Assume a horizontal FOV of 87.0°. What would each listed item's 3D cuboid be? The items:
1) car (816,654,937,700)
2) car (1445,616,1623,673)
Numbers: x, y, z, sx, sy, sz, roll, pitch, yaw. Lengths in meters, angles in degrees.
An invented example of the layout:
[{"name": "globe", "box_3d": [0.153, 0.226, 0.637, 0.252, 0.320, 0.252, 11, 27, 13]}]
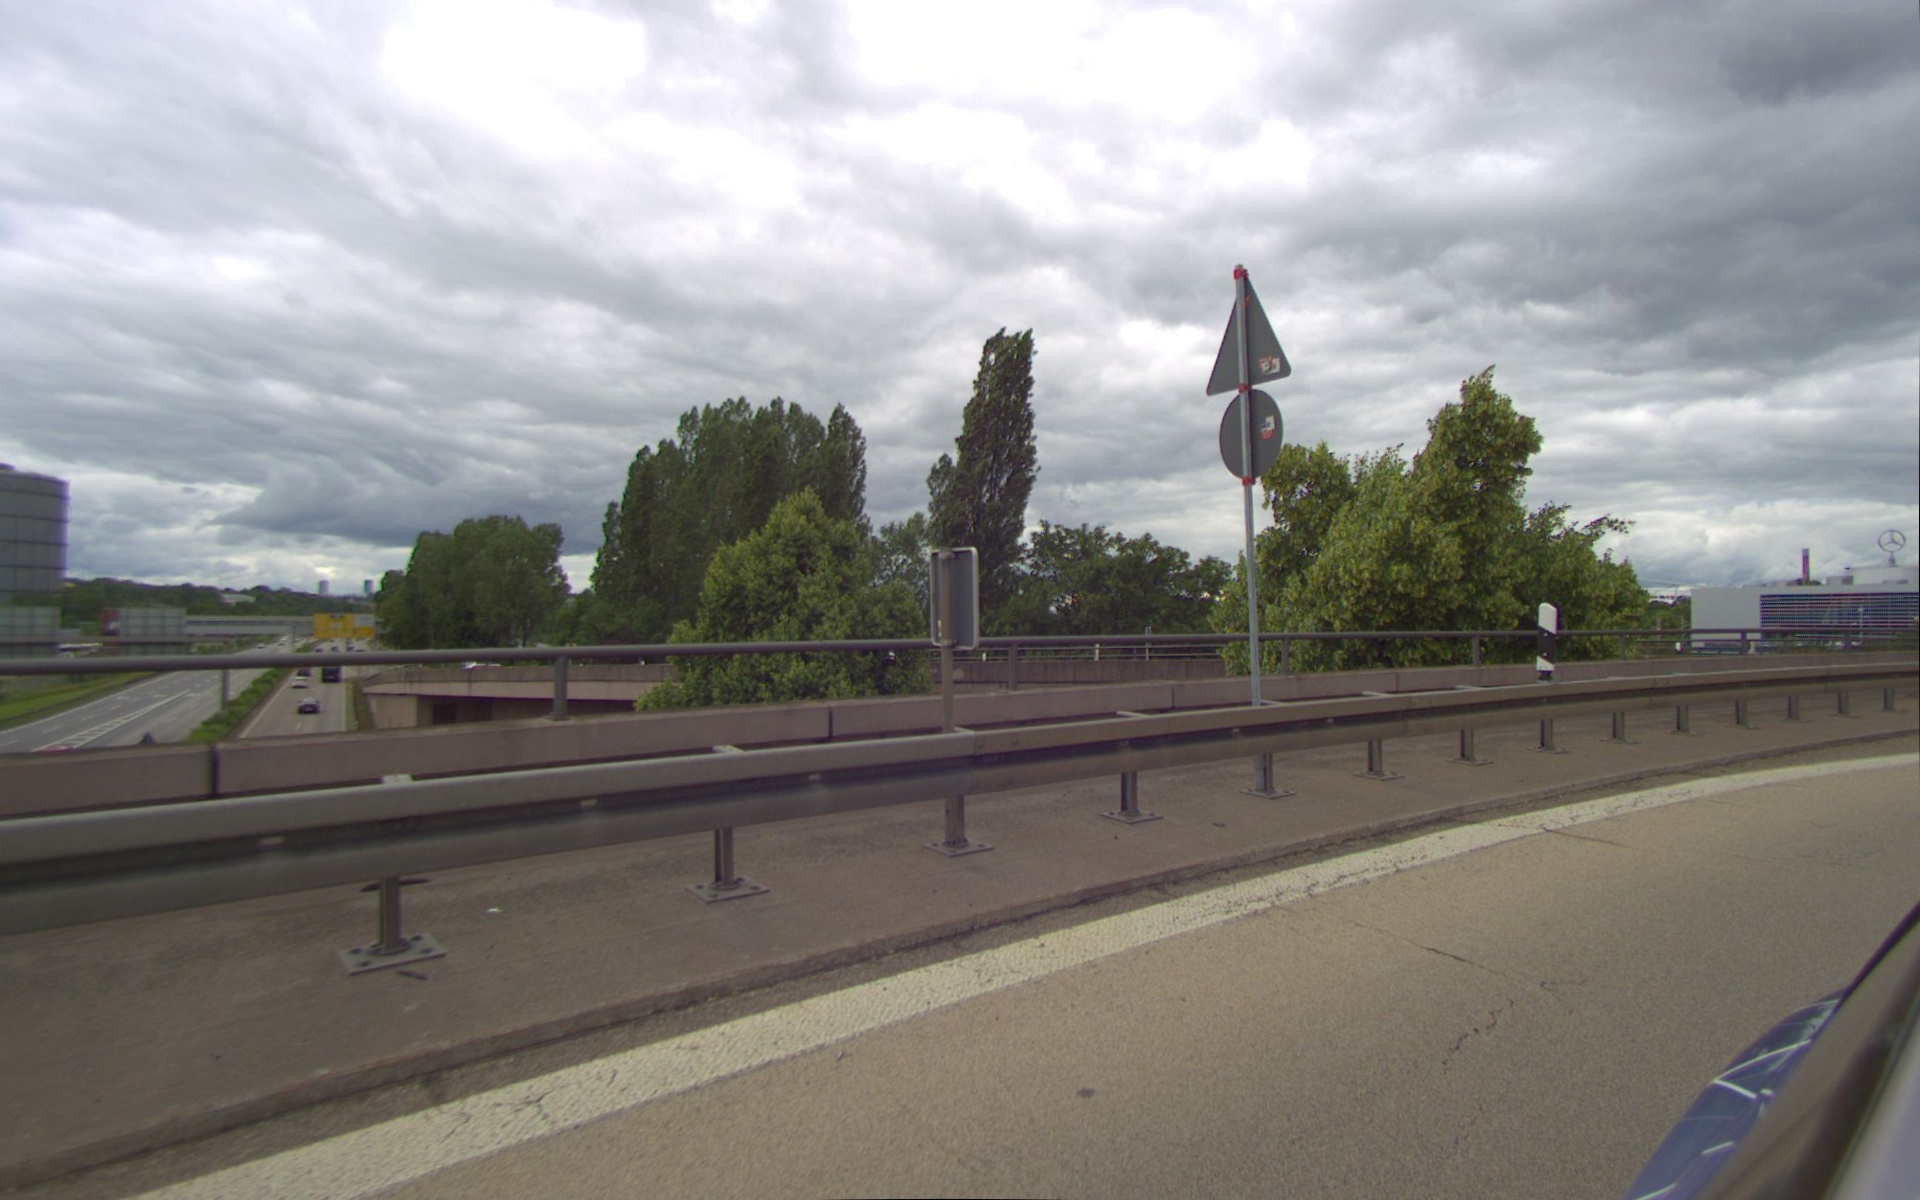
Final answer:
[{"name": "car", "box_3d": [-2.900, 2.623, 34.722, 3.970, 1.500, 1.716, -3, -4, 34]}, {"name": "car", "box_3d": [15.716, 1.261, 27.939, 3.880, 1.428, 1.780, -2, -4, 17]}]
